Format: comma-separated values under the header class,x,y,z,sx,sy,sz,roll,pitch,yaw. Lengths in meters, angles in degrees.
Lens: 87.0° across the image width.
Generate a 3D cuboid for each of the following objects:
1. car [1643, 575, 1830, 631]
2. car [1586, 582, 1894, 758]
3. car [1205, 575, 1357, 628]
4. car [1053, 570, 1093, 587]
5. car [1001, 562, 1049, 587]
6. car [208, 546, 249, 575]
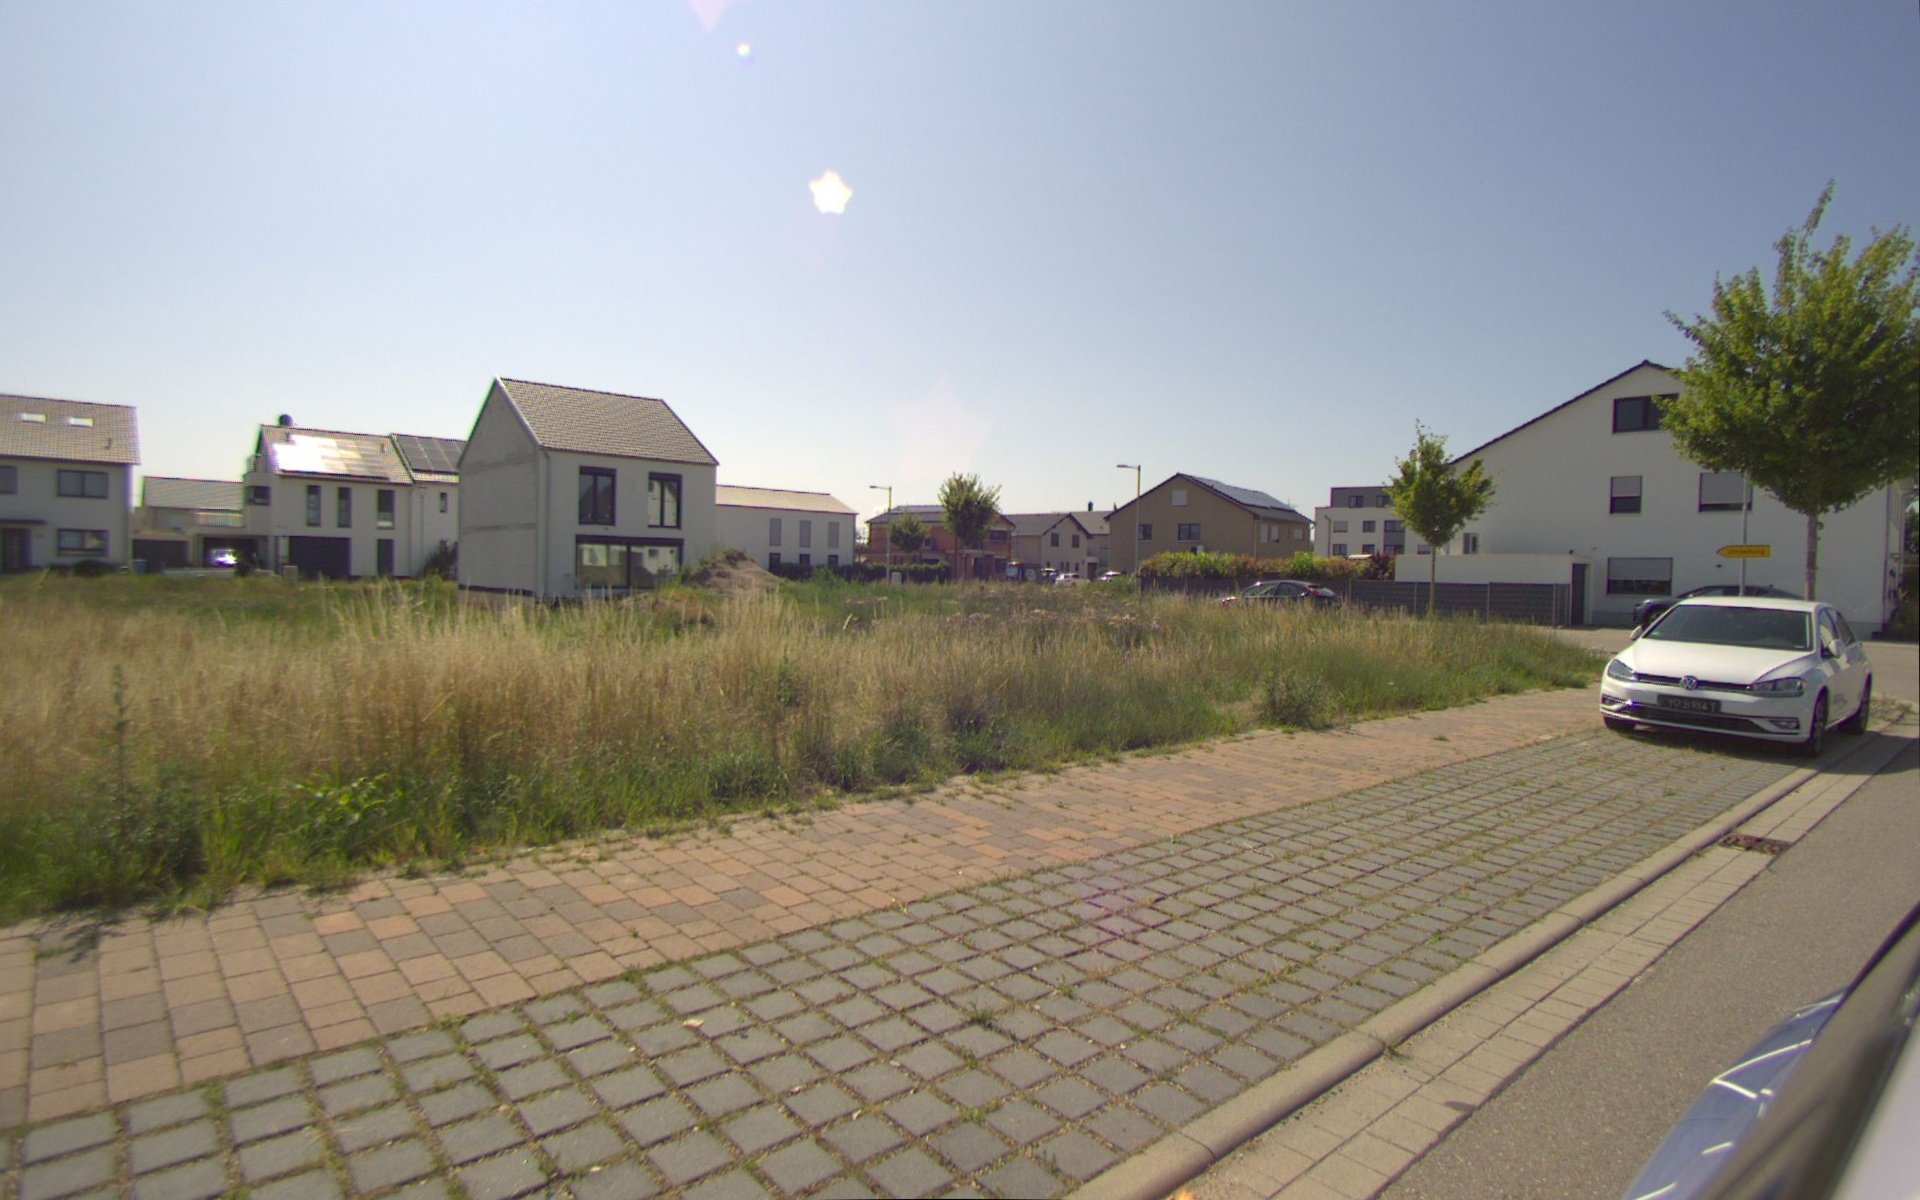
class,x,y,z,sx,sy,sz,roll,pitch,yaw
car,24.130,0.048,31.561,1.927,1.577,4.342,1,2,-43
car,8.410,0.599,10.782,4.093,1.437,1.779,0,3,-41
car,9.984,-0.003,31.657,4.179,1.512,1.822,2,3,43
car,10.071,-1.930,89.778,1.660,1.417,3.864,3,2,39
car,5.436,-2.111,84.426,1.991,2.038,3.943,3,2,40
car,-41.118,-2.203,56.852,1.782,1.531,3.999,0,2,-37
